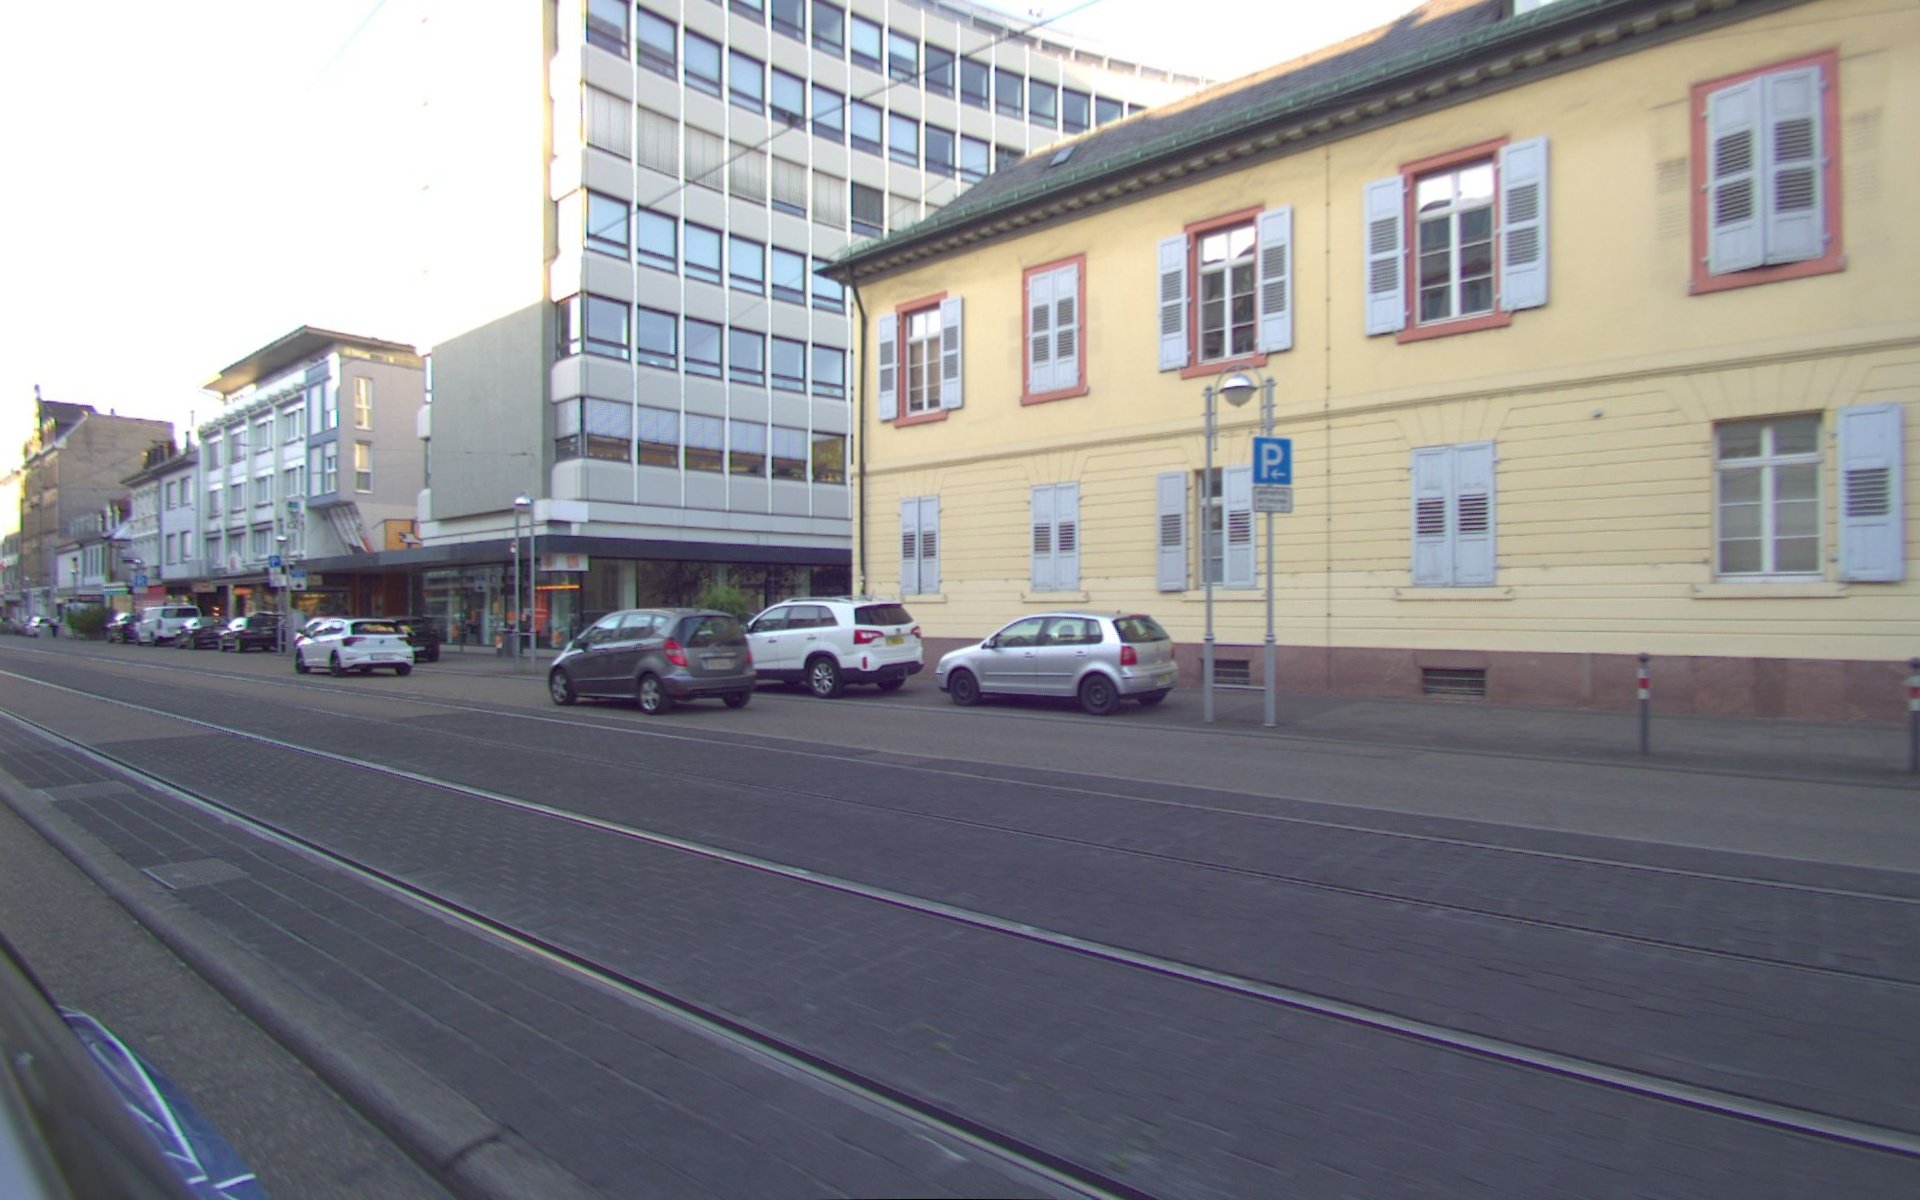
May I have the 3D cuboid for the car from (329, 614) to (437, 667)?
[{"bbox_3d":[-18.162,1.241,31.783,4.212,1.523,1.668,-1,-1,41],"label":"car"}]

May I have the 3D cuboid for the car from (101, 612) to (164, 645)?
[{"bbox_3d":[-45.471,1.553,55.590,4.523,1.734,1.839,-1,-1,40],"label":"car"}]

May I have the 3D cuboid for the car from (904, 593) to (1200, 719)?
[{"bbox_3d":[1.321,0.775,15.503,4.209,1.629,1.795,-1,1,38],"label":"car"}]

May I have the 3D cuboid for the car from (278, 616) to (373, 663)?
[{"bbox_3d":[-22.133,1.342,35.258,4.212,1.523,1.668,-1,-1,41],"label":"car"}]

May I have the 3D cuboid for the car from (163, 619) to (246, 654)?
[{"bbox_3d":[-34.152,1.615,45.709,4.554,1.477,1.973,-1,0,40],"label":"car"}]

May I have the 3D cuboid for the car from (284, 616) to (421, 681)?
[{"bbox_3d":[-15.512,1.197,25.761,4.032,1.523,1.788,-1,-2,40],"label":"car"}]

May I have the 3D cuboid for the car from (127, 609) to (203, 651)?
[{"bbox_3d":[-39.825,1.494,50.652,5.158,1.992,1.936,-1,-2,40],"label":"car"}]

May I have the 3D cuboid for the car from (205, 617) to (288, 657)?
[{"bbox_3d":[-29.116,1.473,41.273,4.442,1.523,1.669,-1,-1,40],"label":"car"}]

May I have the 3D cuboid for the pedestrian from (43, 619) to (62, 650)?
[{"bbox_3d":[-59.770,2.291,66.684,0.811,2.029,0.714,1,-2,-34],"label":"pedestrian"}]

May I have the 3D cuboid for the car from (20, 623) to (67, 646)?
[{"bbox_3d":[-66.232,2.475,73.092,4.876,1.556,1.973,-1,0,41],"label":"car"}]

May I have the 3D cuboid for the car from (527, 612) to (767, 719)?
[{"bbox_3d":[-5.122,0.973,16.347,4.029,1.523,1.719,-1,-1,38],"label":"car"}]

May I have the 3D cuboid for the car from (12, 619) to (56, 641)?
[{"bbox_3d":[-70.365,2.274,76.862,4.549,1.556,1.889,-1,-1,40],"label":"car"}]

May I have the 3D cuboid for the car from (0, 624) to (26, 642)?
[{"bbox_3d":[-81.714,2.824,86.773,3.997,1.564,1.973,-1,-1,40],"label":"car"}]

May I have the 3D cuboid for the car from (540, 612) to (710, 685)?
[{"bbox_3d":[-7.795,1.066,23.340,4.431,1.523,1.793,-1,-2,42],"label":"car"}]

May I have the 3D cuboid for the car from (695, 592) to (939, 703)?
[{"bbox_3d":[-2.712,0.799,18.633,4.489,1.799,1.796,-1,0,37],"label":"car"}]

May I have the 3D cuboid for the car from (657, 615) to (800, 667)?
[{"bbox_3d":[-7.013,1.204,30.889,1.846,1.478,3.944,-1,-1,42],"label":"car"}]
